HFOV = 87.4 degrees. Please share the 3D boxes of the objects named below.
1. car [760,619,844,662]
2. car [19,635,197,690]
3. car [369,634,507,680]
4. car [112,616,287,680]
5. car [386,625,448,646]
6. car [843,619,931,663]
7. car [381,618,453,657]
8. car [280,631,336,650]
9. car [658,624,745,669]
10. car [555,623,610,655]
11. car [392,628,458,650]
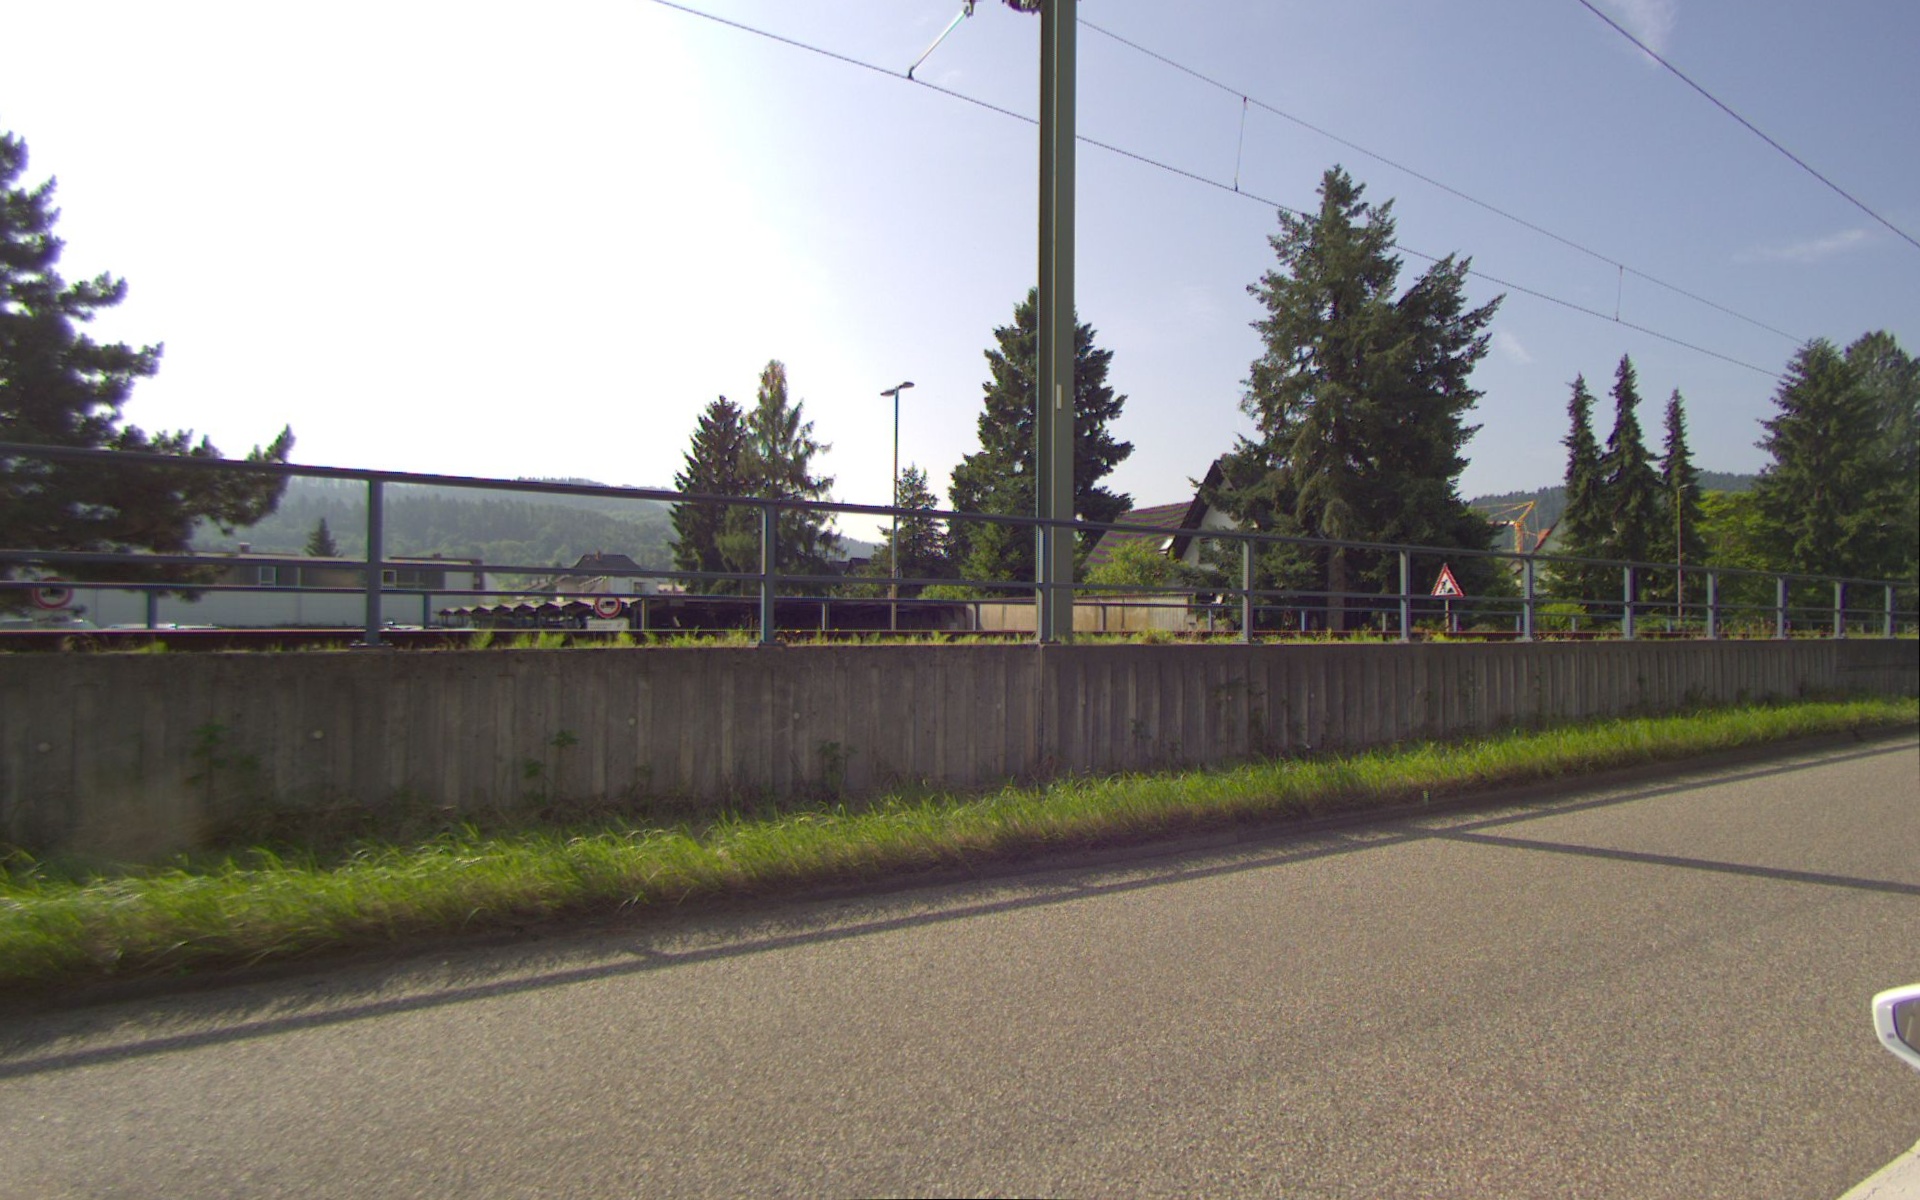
[{"bbox_3d":[-6.698,1.676,42.333,1.802,1.688,3.956,1,-1,-38],"label":"car"},{"bbox_3d":[-21.693,1.579,25.636,3.465,1.342,1.458,0,-2,7],"label":"car"},{"bbox_3d":[-15.711,1.707,30.315,3.465,1.342,1.458,0,-2,7],"label":"car"},{"bbox_3d":[-21.051,1.314,27.885,3.729,1.710,1.647,0,-2,6],"label":"car"},{"bbox_3d":[-36.395,2.370,67.369,1.430,1.342,3.535,-1,-2,24],"label":"car"},{"bbox_3d":[-3.086,1.660,41.872,1.802,1.688,3.956,1,-1,-38],"label":"car"},{"bbox_3d":[-19.764,1.362,36.500,1.447,1.342,3.492,2,-3,-43],"label":"car"},{"bbox_3d":[-48.684,3.020,75.031,3.402,1.342,1.434,1,-2,-30],"label":"car"},{"bbox_3d":[-9.988,1.740,38.658,1.802,1.557,3.956,1,-1,-38],"label":"car"},{"bbox_3d":[-21.260,2.146,56.514,1.802,1.688,3.956,1,-1,-38],"label":"car"},{"bbox_3d":[-34.479,2.523,64.839,1.432,1.342,3.528,-1,-2,32],"label":"car"}]
